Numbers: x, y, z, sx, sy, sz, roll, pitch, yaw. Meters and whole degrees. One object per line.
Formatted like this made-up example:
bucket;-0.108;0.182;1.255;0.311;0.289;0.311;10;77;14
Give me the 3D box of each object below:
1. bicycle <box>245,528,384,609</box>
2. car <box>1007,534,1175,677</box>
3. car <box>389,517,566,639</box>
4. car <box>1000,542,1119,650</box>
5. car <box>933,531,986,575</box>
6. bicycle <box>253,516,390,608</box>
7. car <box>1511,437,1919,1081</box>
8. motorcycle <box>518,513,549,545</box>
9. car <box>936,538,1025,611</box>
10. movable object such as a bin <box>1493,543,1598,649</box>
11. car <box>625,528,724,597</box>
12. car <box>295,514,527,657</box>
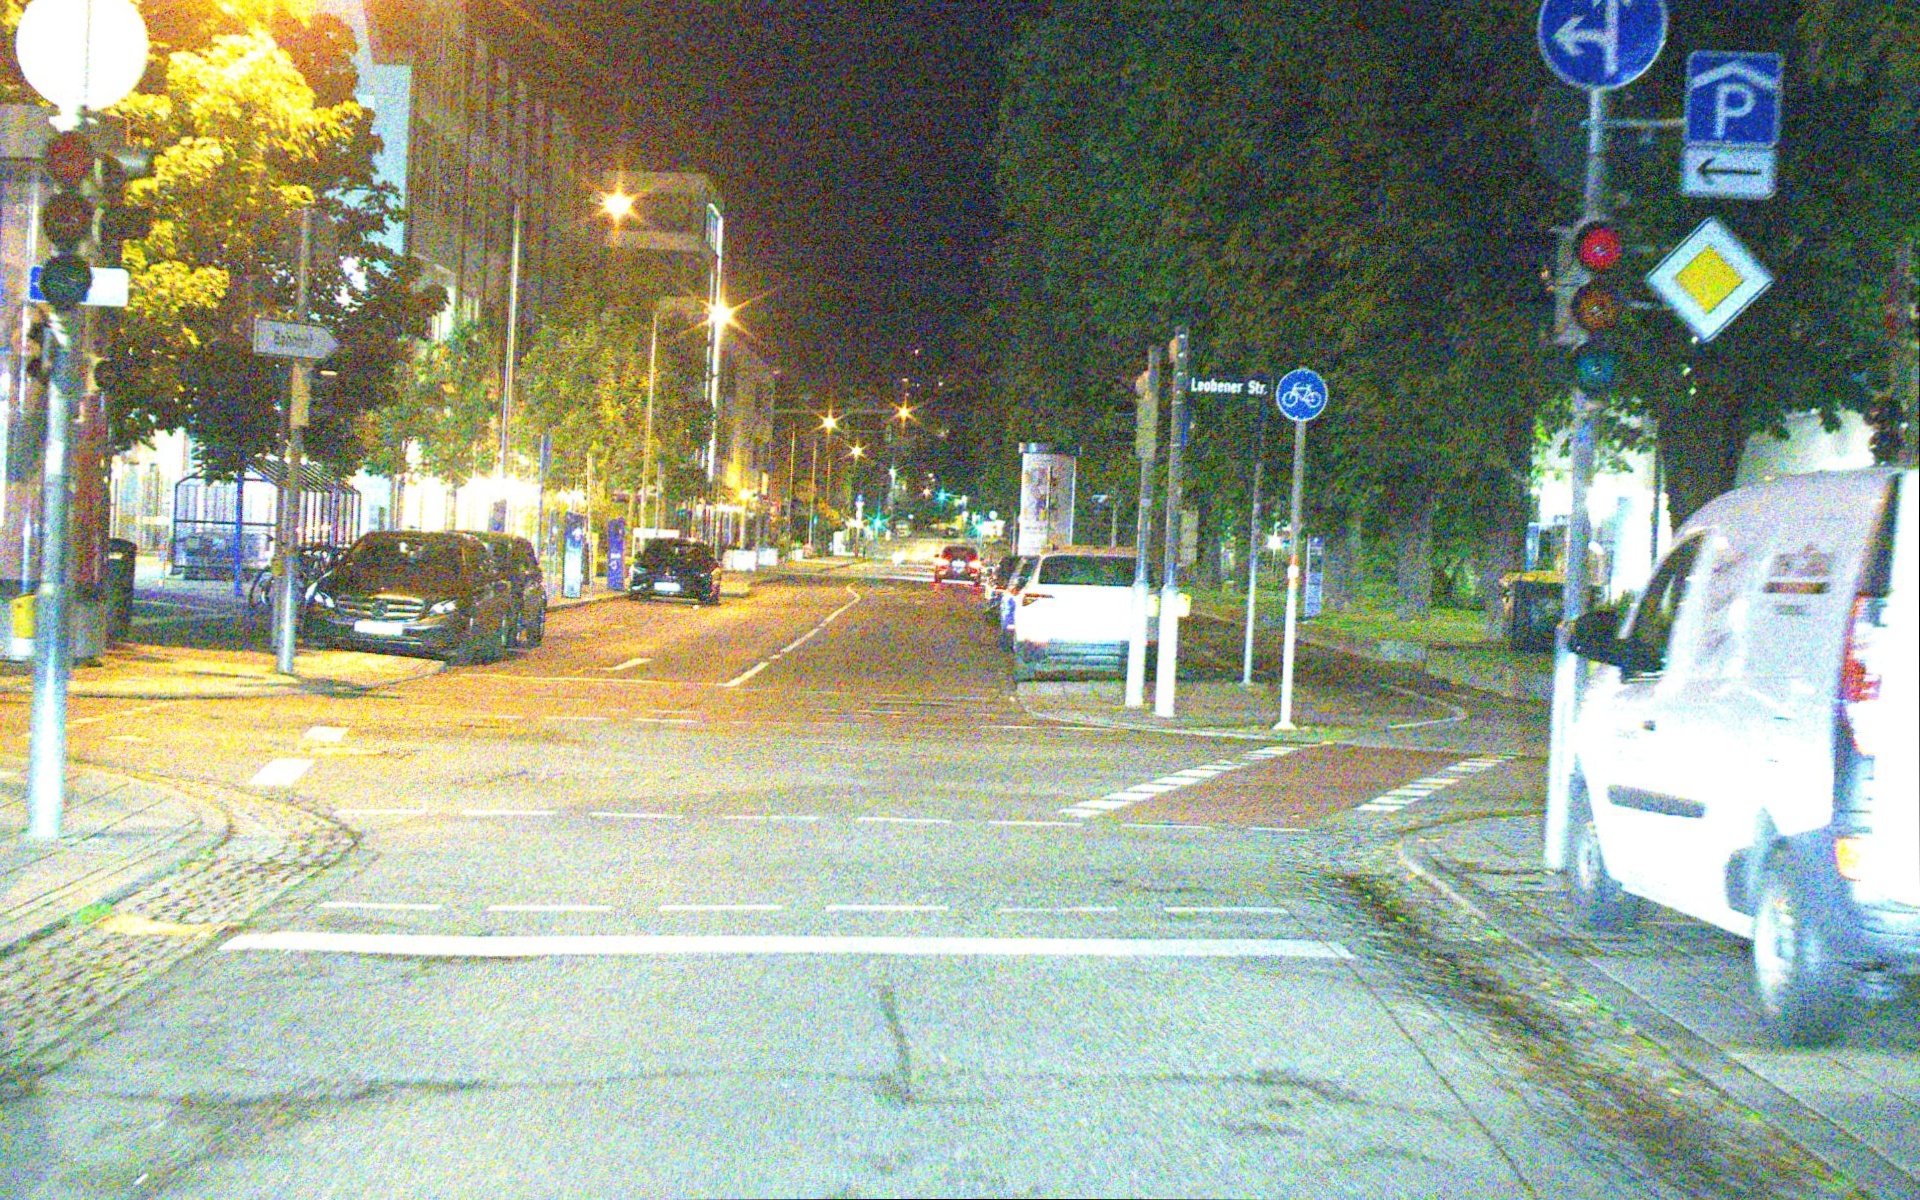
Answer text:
bicycle;-9.339;-0.453;49.744;1.851;1.031;0.533;4;1;0
car;1.455;0.016;39.578;1.770;1.531;4.216;1;1;0
car;-6.430;-0.324;46.161;1.722;1.423;3.977;5;1;0
car;1.509;-0.098;53.333;1.689;1.531;4.016;3;1;0
car;-0.037;-1.868;135.391;1.993;1.637;4.000;2;1;0
bicycle;-9.344;-0.557;50.338;1.851;1.249;0.533;3;1;0
car;3.275;0.432;12.055;1.789;1.816;4.580;2;1;-1
motorcycle;-14.165;-2.350;114.272;0.478;1.017;1.674;3;1;10
car;0.442;-0.568;72.125;1.764;1.409;4.808;2;1;0
movable object such as a bin;7.948;-0.061;46.701;1.160;1.366;0.993;3;1;-2
car;-6.435;-0.873;77.763;1.741;1.408;4.496;4;1;0
car;-6.308;-0.207;40.008;1.806;1.420;4.921;5;1;0
